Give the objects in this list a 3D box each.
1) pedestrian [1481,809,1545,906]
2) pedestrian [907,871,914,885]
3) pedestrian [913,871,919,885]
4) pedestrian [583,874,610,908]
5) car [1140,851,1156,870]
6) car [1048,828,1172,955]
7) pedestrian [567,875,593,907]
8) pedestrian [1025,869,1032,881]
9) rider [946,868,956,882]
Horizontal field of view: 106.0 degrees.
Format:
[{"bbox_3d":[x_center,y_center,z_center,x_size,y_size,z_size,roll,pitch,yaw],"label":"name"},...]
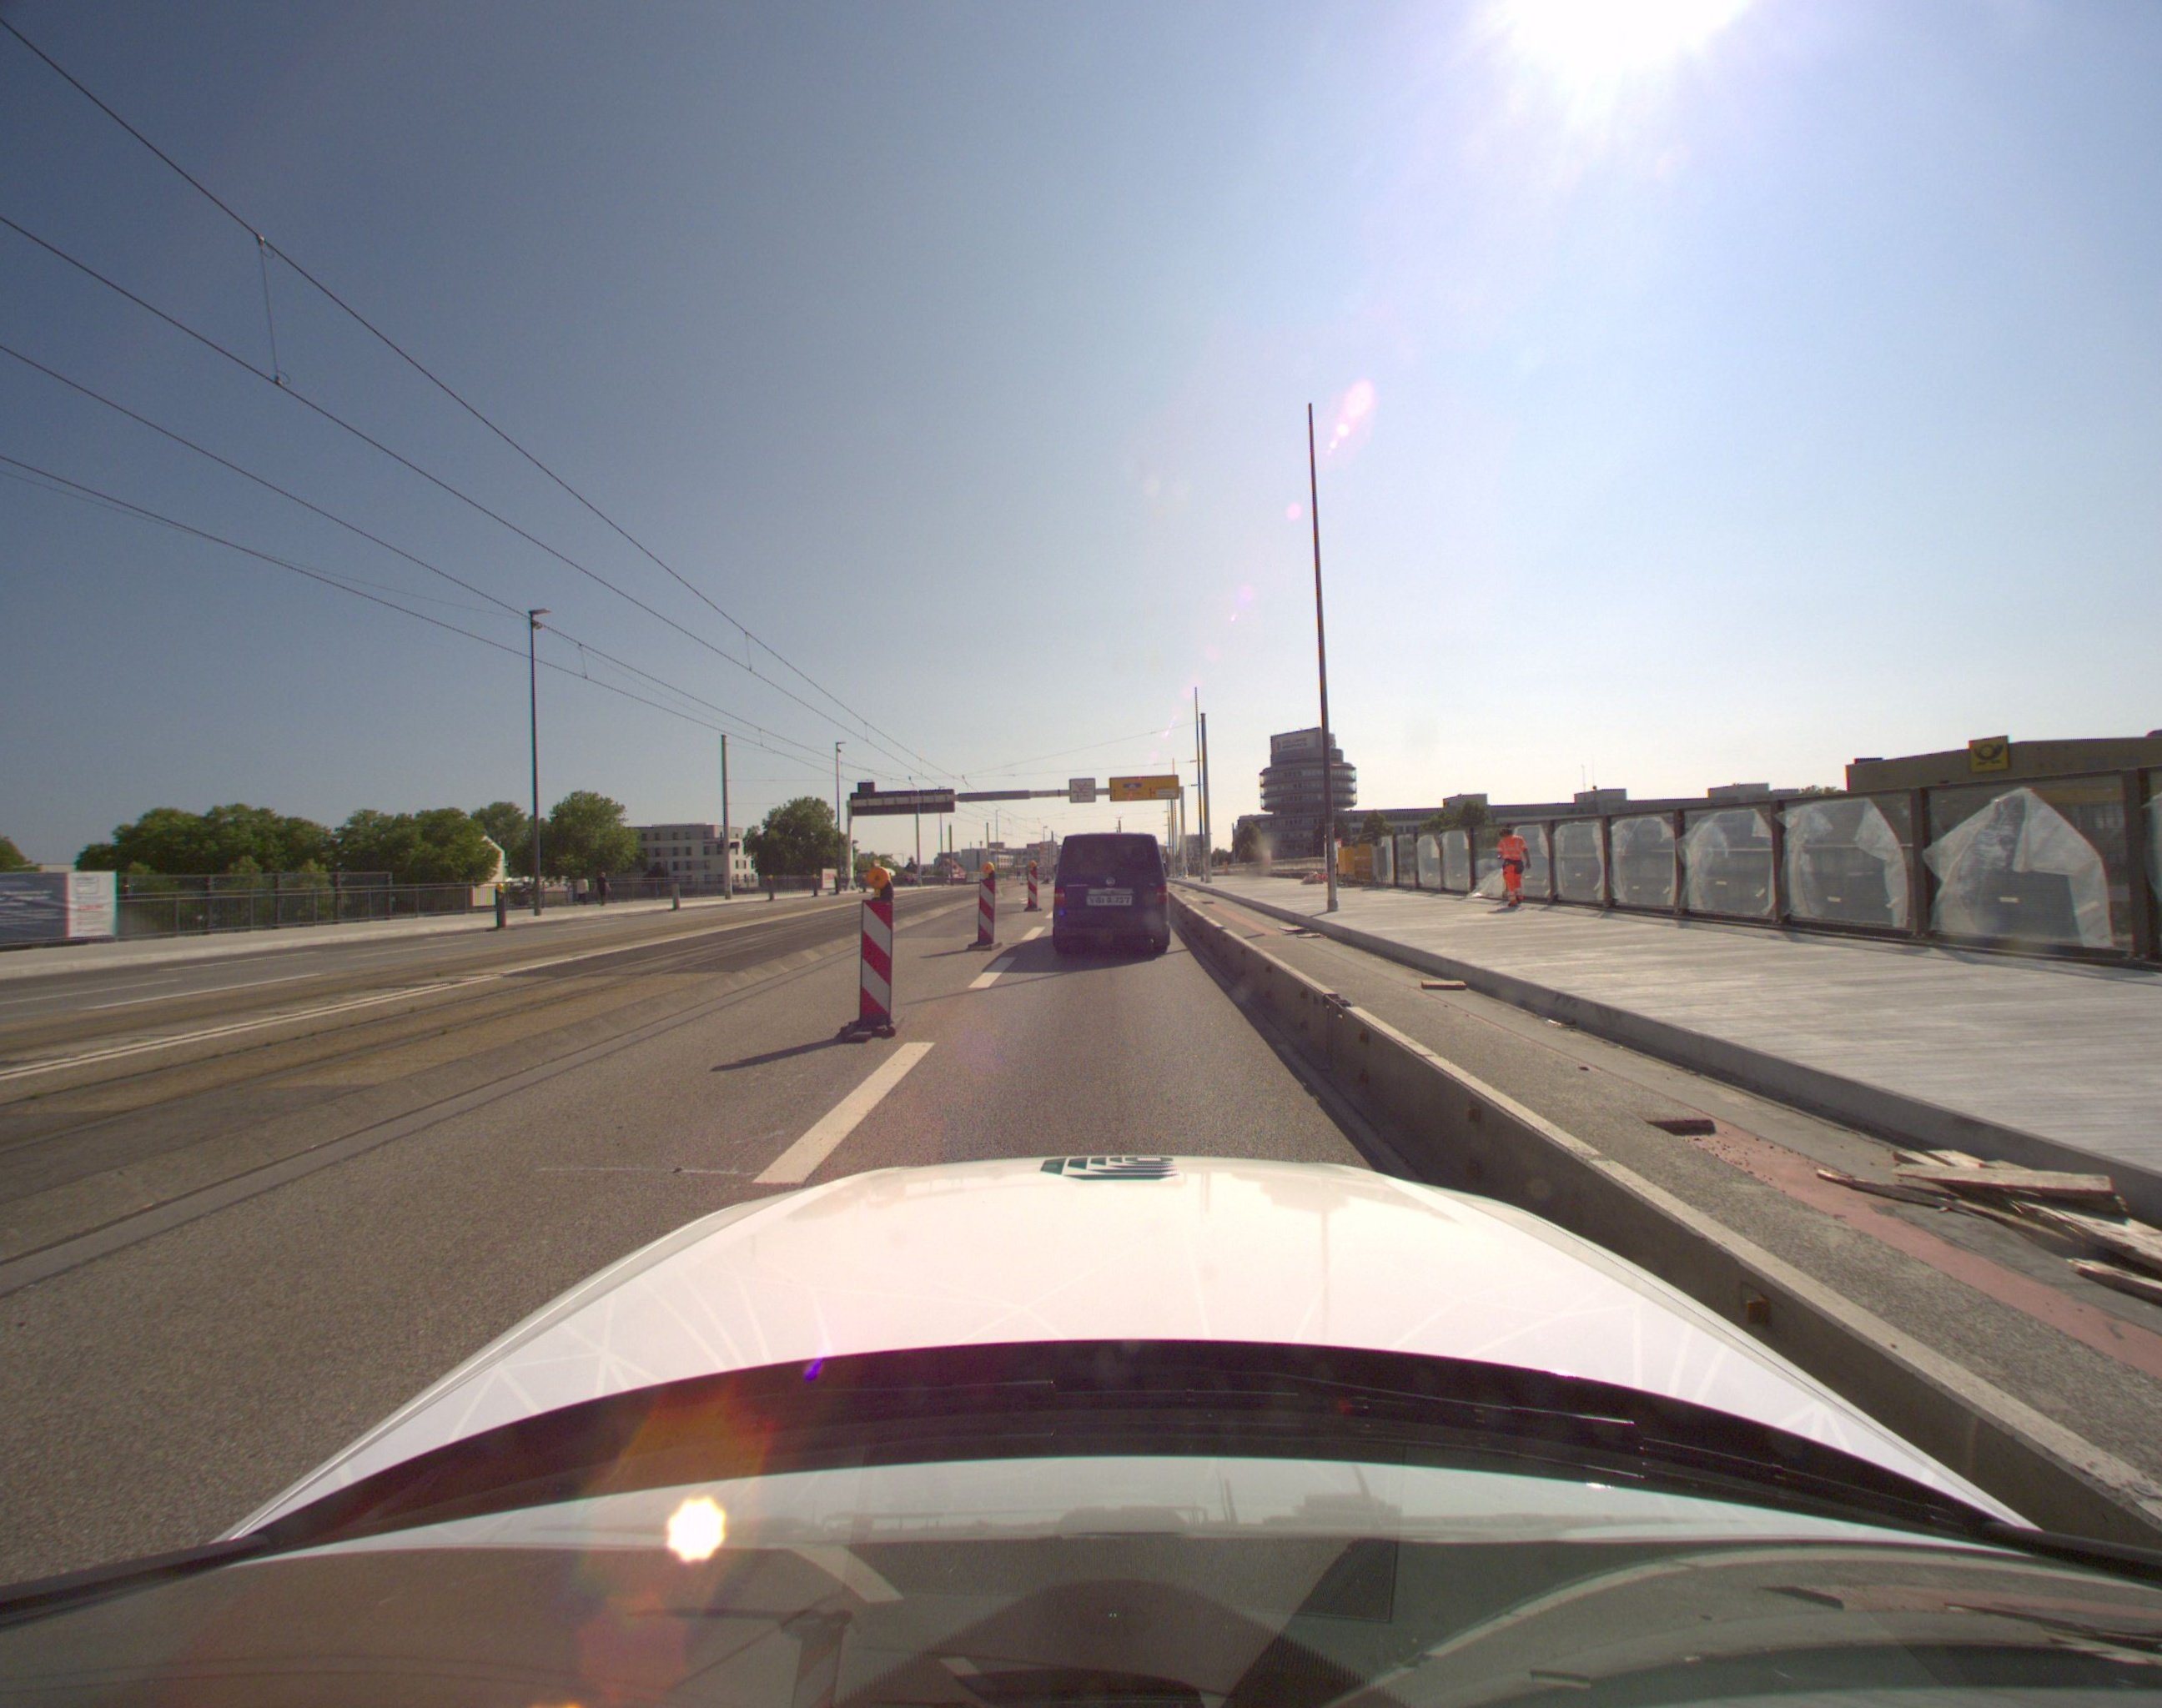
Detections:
[{"bbox_3d":[9.241,0.079,17.453,0.728,1.965,1.017,-3,-1,2],"label":"pedestrian"},{"bbox_3d":[-20.710,2.949,99.095,0.594,1.687,0.819,-2,-1,6],"label":"pedestrian"},{"bbox_3d":[-20.137,2.929,99.297,0.483,1.687,0.809,-2,-1,6],"label":"pedestrian"},{"bbox_3d":[-24.028,1.808,40.411,0.741,1.642,0.895,0,-1,2],"label":"pedestrian"},{"bbox_3d":[10.359,0.987,125.457,2.329,2.887,5.975,-1,-1,4],"label":"car"},{"bbox_3d":[0.518,0.602,14.447,1.880,1.934,4.002,0,-1,2],"label":"car"},{"bbox_3d":[-24.983,1.847,40.611,0.717,1.544,0.889,0,-1,2],"label":"pedestrian"},{"bbox_3d":[-7.378,2.992,114.676,0.655,1.654,0.742,-2,-2,16],"label":"pedestrian"},{"bbox_3d":[-17.499,2.809,109.340,0.760,1.733,2.952,-1,-1,2],"label":"rider"}]
